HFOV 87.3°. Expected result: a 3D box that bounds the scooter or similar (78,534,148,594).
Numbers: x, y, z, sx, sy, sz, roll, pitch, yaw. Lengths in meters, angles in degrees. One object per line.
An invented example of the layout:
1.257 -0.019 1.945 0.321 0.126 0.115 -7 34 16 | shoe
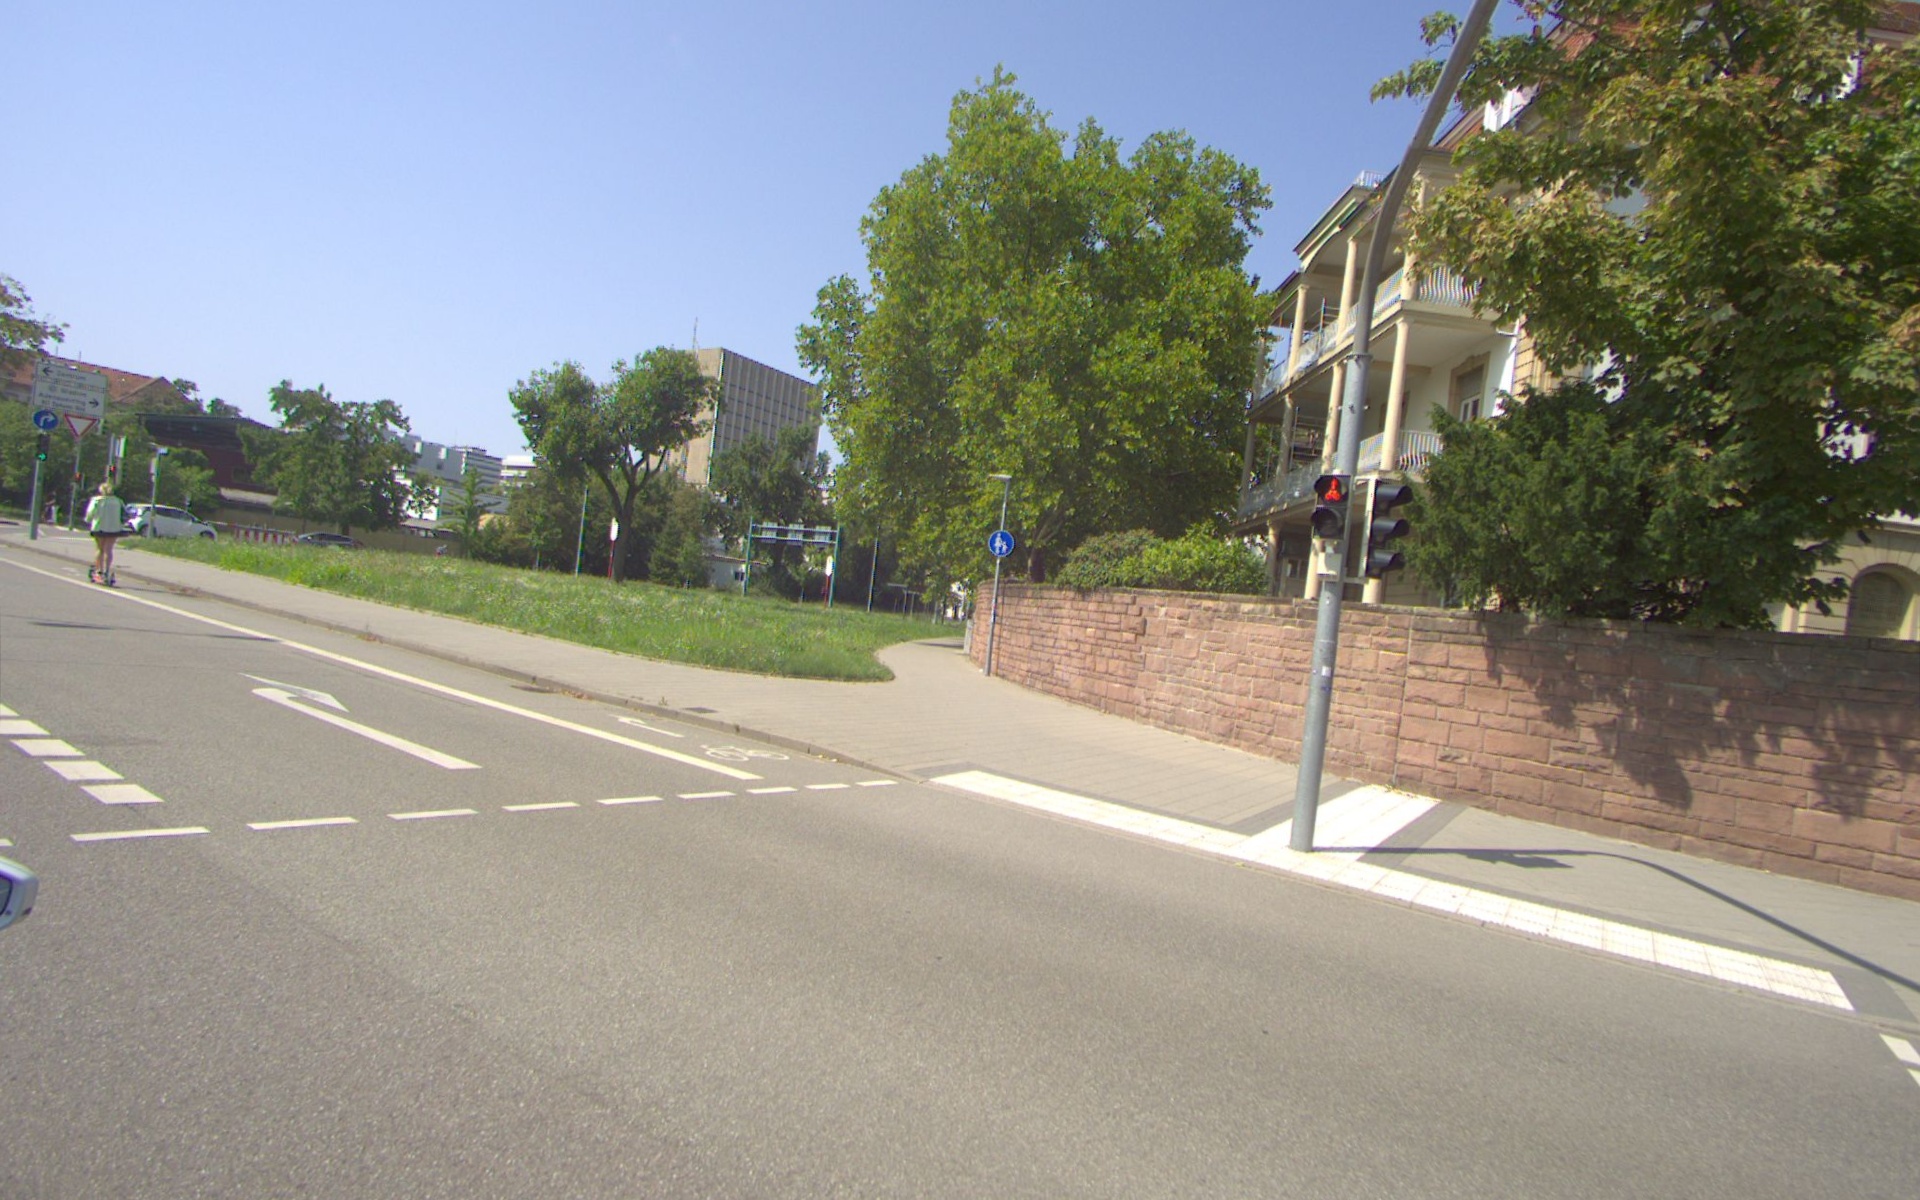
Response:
-15.984 -0.689 18.968 1.598 0.938 0.771 7 -1 43 | scooter or similar

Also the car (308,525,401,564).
-33.997 -3.095 56.565 1.795 1.584 3.987 7 0 36 | car

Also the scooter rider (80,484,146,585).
-16.049 -1.235 19.069 0.547 1.797 0.760 7 1 43 | scooter rider

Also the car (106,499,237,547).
-33.480 -3.223 42.850 1.813 1.408 4.001 7 0 17 | car
